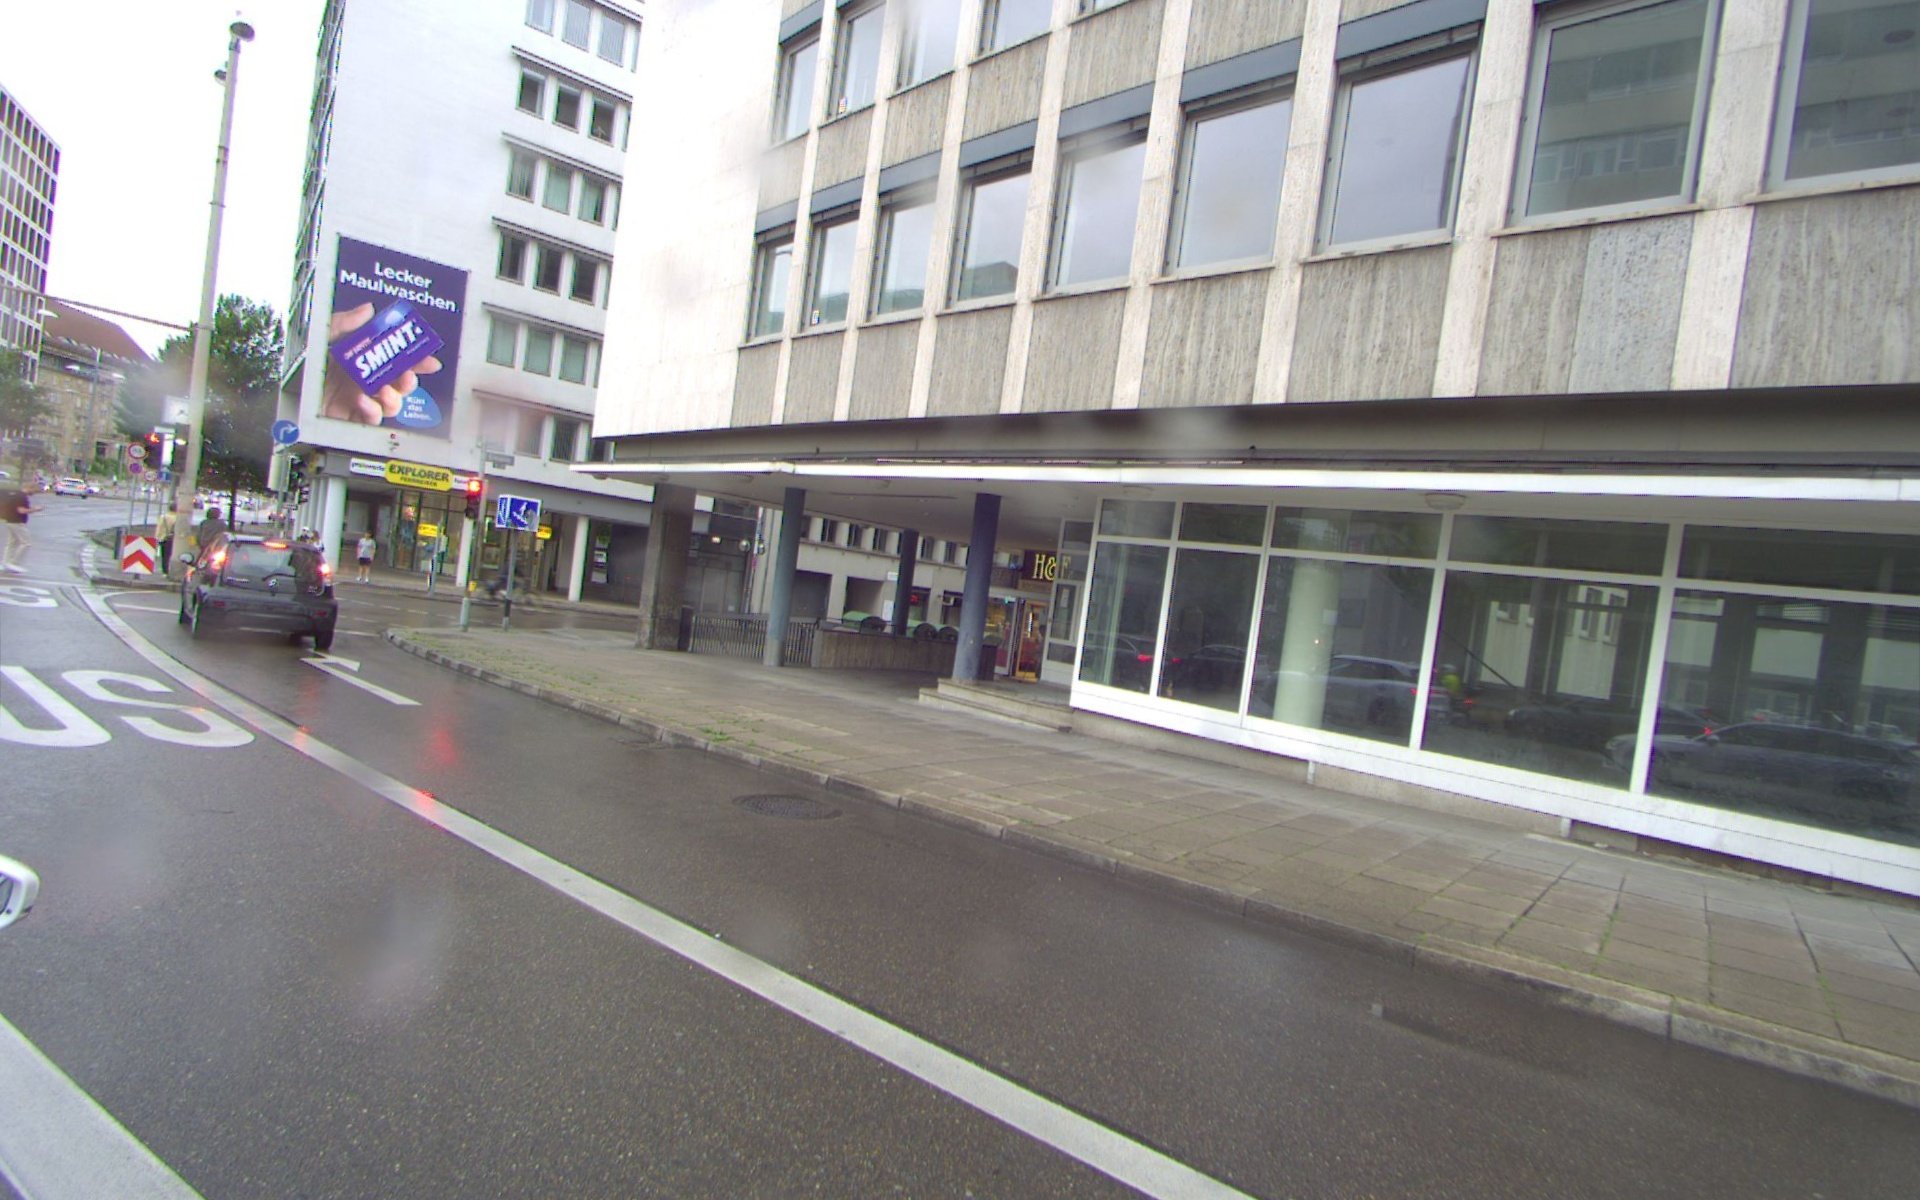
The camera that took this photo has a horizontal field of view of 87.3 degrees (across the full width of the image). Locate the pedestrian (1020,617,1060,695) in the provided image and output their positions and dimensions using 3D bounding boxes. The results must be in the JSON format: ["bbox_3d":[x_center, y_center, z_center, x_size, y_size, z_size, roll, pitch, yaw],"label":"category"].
[{"bbox_3d":[2.007,1.404,25.210,0.697,1.825,0.801,8,0,10],"label":"pedestrian"}]

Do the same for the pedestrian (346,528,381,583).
[{"bbox_3d":[-20.924,-1.560,35.291,0.660,1.815,0.771,7,0,-15],"label":"pedestrian"}]

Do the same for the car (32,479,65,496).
[{"bbox_3d":[-108.482,-13.363,119.726,1.979,1.506,3.968,8,0,-30],"label":"car"}]

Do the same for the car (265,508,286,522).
[{"bbox_3d":[-91.665,-11.352,134.693,1.680,1.503,3.973,8,-2,-28],"label":"car"}]

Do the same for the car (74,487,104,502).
[{"bbox_3d":[-109.821,-13.322,126.923,1.979,1.506,3.968,8,0,-30],"label":"car"}]

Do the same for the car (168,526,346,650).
[{"bbox_3d":[-10.452,-0.233,14.833,1.566,1.446,3.953,9,-2,-42],"label":"car"}]

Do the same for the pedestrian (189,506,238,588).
[{"bbox_3d":[-17.723,-1.260,23.885,0.745,1.820,0.808,7,1,-38],"label":"pedestrian"}]

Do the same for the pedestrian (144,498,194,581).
[{"bbox_3d":[-18.506,-1.410,23.545,0.745,1.820,0.808,7,1,-38],"label":"pedestrian"}]

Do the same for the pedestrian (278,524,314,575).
[{"bbox_3d":[-22.916,-1.731,34.725,0.660,1.675,0.651,8,0,-15],"label":"pedestrian"}]

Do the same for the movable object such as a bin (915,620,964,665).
[{"bbox_3d":[-0.743,1.509,35.942,1.094,1.399,1.186,7,1,-37],"label":"movable object such as a bin"}]

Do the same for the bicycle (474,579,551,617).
[{"bbox_3d":[-13.576,-0.056,30.559,2.018,0.899,0.398,9,-1,-41],"label":"bicycle"}]

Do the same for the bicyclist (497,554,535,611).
[{"bbox_3d":[-13.500,-0.530,30.568,0.764,1.588,0.527,7,0,-40],"label":"bicyclist"}]

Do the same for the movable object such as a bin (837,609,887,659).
[{"bbox_3d":[-3.270,1.130,33.525,0.961,1.447,1.268,7,1,-36],"label":"movable object such as a bin"}]

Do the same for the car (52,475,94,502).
[{"bbox_3d":[-69.942,-8.737,79.361,1.877,1.662,3.962,8,-1,-35],"label":"car"}]

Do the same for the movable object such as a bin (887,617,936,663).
[{"bbox_3d":[-1.713,1.387,35.195,1.094,1.399,1.186,7,1,-37],"label":"movable object such as a bin"}]

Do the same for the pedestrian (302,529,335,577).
[{"bbox_3d":[-22.184,-1.601,34.777,0.616,1.561,0.651,8,0,-15],"label":"pedestrian"}]

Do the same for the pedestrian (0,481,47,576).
[{"bbox_3d":[-18.547,-1.402,19.741,0.768,1.752,0.589,7,0,-44],"label":"pedestrian"}]

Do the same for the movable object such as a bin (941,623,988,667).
[{"bbox_3d":[0.162,1.636,36.630,1.094,1.399,1.186,7,1,-37],"label":"movable object such as a bin"}]

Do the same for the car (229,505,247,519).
[{"bbox_3d":[-125.696,-15.338,175.075,1.980,2.037,3.968,8,-1,-31],"label":"car"}]
